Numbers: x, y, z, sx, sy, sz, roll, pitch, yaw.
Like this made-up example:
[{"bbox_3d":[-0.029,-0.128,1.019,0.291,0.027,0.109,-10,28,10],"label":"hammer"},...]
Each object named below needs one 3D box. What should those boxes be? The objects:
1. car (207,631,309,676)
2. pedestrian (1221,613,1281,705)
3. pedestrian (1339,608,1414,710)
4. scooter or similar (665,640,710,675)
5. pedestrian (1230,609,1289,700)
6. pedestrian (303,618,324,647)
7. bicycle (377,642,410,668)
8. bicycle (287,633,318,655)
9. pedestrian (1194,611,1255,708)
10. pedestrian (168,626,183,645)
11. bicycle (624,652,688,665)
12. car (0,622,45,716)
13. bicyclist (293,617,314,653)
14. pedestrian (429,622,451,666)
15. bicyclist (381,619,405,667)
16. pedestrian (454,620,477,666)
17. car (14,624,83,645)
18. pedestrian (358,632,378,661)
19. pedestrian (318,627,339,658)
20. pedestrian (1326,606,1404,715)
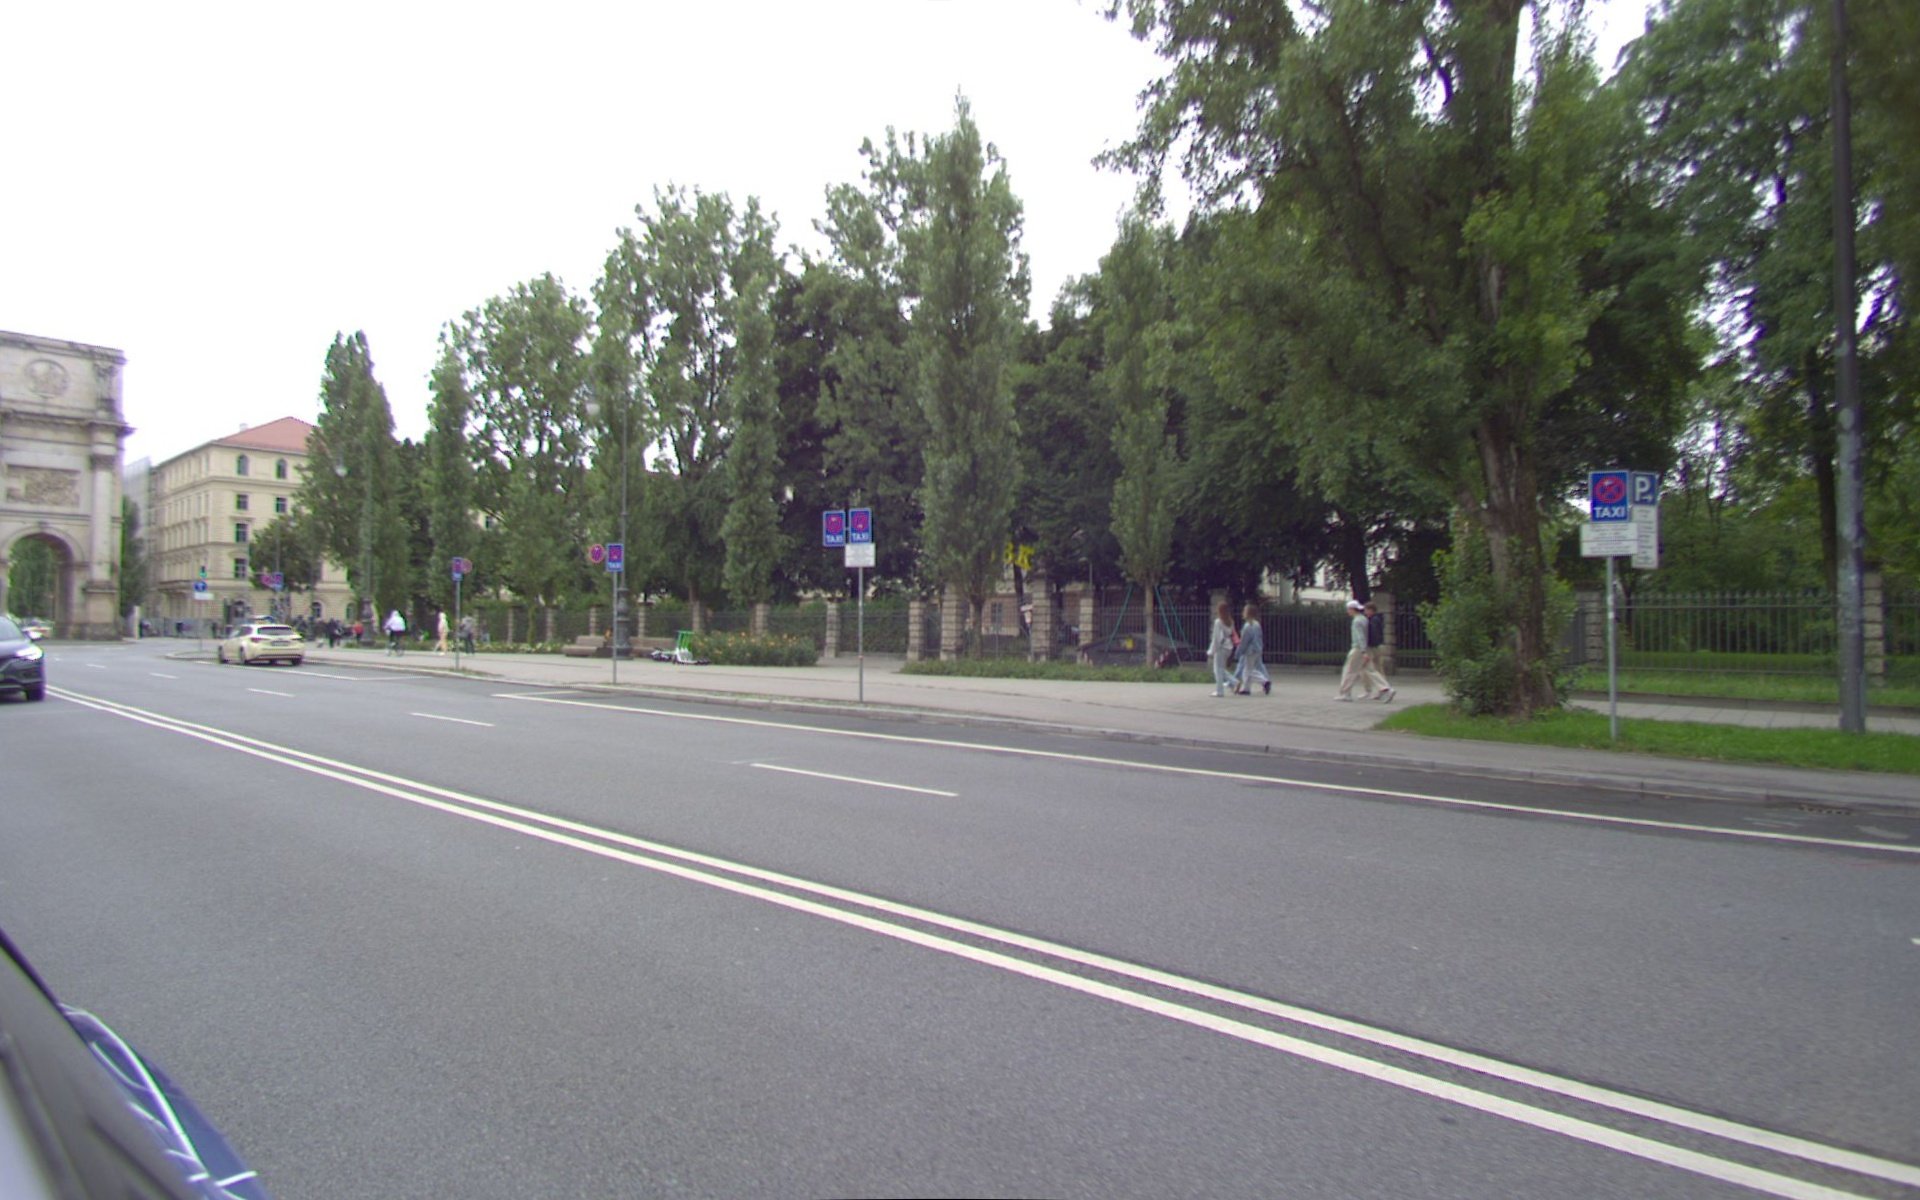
[{"bbox_3d":[-24.876,1.863,35.803,4.464,1.347,1.774,1,-1,39],"label":"car"},{"bbox_3d":[5.552,1.115,19.317,0.885,1.713,0.681,-2,-3,40],"label":"pedestrian"},{"bbox_3d":[7.579,1.049,18.441,1.092,1.786,0.702,-1,-1,40],"label":"pedestrian"},{"bbox_3d":[-9.408,1.986,34.945,1.413,1.187,0.738,-1,-4,36],"label":"scooter or similar"},{"bbox_3d":[5.889,1.061,19.907,0.910,1.729,0.653,-2,-3,40],"label":"pedestrian"},{"bbox_3d":[-39.501,1.999,61.839,0.944,1.731,1.034,0,-1,-27],"label":"pedestrian"},{"bbox_3d":[-21.885,2.107,39.075,1.912,0.959,0.464,-1,-1,40],"label":"bicycle"},{"bbox_3d":[-30.120,2.022,46.376,1.912,0.959,0.666,-1,-1,40],"label":"bicycle"},{"bbox_3d":[4.937,1.095,18.905,0.907,1.760,0.623,-2,-3,40],"label":"pedestrian"},{"bbox_3d":[-76.391,3.503,98.564,1.017,1.837,0.883,2,-3,-42],"label":"pedestrian"},{"bbox_3d":[-11.699,2.253,39.028,1.331,0.456,2.203,-1,-2,18],"label":"bicycle"},{"bbox_3d":[-18.143,1.207,18.249,4.180,1.598,1.817,-1,-2,39],"label":"car"},{"bbox_3d":[-30.087,1.606,46.365,0.660,1.604,0.639,-1,-1,39],"label":"bicyclist"},{"bbox_3d":[-20.707,1.745,40.293,0.581,1.744,0.527,-1,-2,30],"label":"pedestrian"},{"bbox_3d":[-21.873,1.643,39.034,0.660,1.837,0.583,-1,-1,39],"label":"bicyclist"},{"bbox_3d":[-19.002,1.656,38.901,0.581,1.744,0.527,-1,-2,30],"label":"pedestrian"},{"bbox_3d":[-75.611,2.853,83.962,3.945,1.763,1.999,0,-2,1],"label":"car"},{"bbox_3d":[-39.509,3.088,67.548,0.976,1.885,1.032,0,-1,-39],"label":"pedestrian"},{"bbox_3d":[-36.317,2.443,58.157,0.945,1.731,1.032,0,-1,-37],"label":"pedestrian"},{"bbox_3d":[7.136,1.034,17.836,1.092,1.847,0.702,-1,-1,40],"label":"pedestrian"}]
